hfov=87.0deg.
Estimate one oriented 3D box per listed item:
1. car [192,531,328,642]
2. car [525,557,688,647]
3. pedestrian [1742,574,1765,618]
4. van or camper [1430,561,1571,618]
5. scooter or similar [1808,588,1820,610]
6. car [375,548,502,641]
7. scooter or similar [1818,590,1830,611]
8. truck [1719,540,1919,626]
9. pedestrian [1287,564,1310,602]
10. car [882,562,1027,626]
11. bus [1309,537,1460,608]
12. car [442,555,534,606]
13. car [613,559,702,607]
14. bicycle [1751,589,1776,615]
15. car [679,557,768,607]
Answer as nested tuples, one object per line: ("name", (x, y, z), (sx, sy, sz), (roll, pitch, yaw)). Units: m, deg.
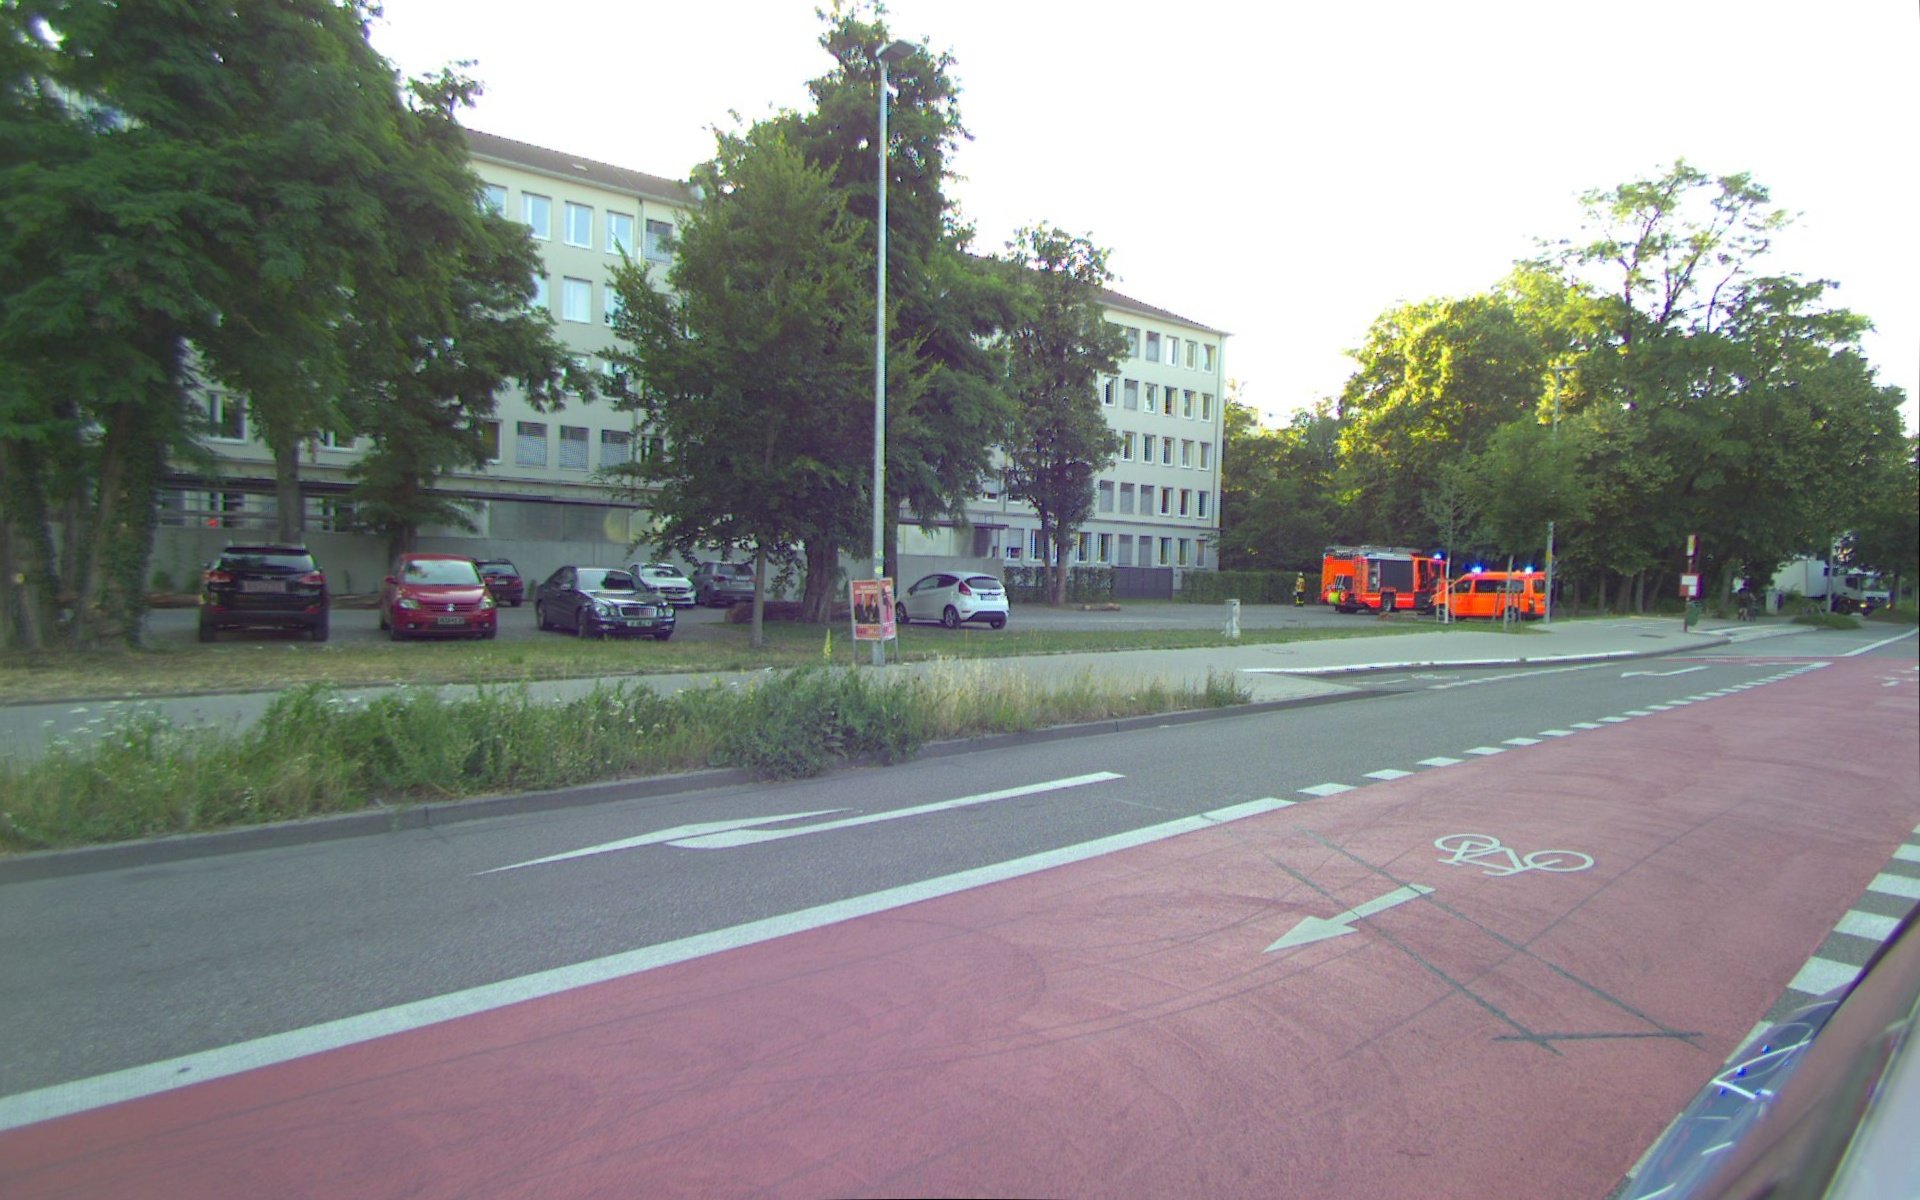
("car", (-12.389, -0.264, 17.892), (1.802, 1.715, 3.910), (0, 1, -36))
("car", (-7.436, -0.064, 21.011), (1.866, 1.465, 4.584), (-2, 6, -37))
("pedestrian", (37.362, -0.177, 47.659), (0.723, 2.038, 0.684), (3, 2, 45))
("van or camper", (23.069, -0.480, 43.393), (2.251, 2.272, 4.831), (0, 1, -34))
("scooter or similar", (53.390, -0.060, 63.292), (0.482, 1.297, 1.213), (5, 3, 41))
("car", (-10.145, -0.176, 19.551), (1.751, 1.580, 4.003), (0, 2, -34))
("scooter or similar", (54.824, 0.002, 64.205), (0.482, 1.297, 1.123), (5, 3, 41))
("truck", (63.738, -1.398, 75.519), (5.079, 5.642, 15.037), (2, 2, 11))
("pedestrian", (18.627, -0.941, 55.698), (0.810, 2.038, 0.774), (1, 2, -32))
("car", (-0.220, -0.201, 27.057), (1.876, 1.556, 3.999), (0, 1, -37))
("bus", (20.851, -1.295, 49.545), (7.810, 3.236, 2.999), (0, 1, -34))
("car", (-14.453, -0.604, 30.873), (1.866, 1.460, 4.001), (0, 1, -35))
("car", (-10.134, -0.596, 33.729), (1.798, 1.494, 4.002), (0, 1, -33))
("bicycle", (37.722, 0.082, 47.552), (0.829, 1.111, 1.942), (5, 3, 38))
("car", (-8.344, -0.659, 35.425), (1.875, 1.637, 4.004), (-1, 2, -32))
